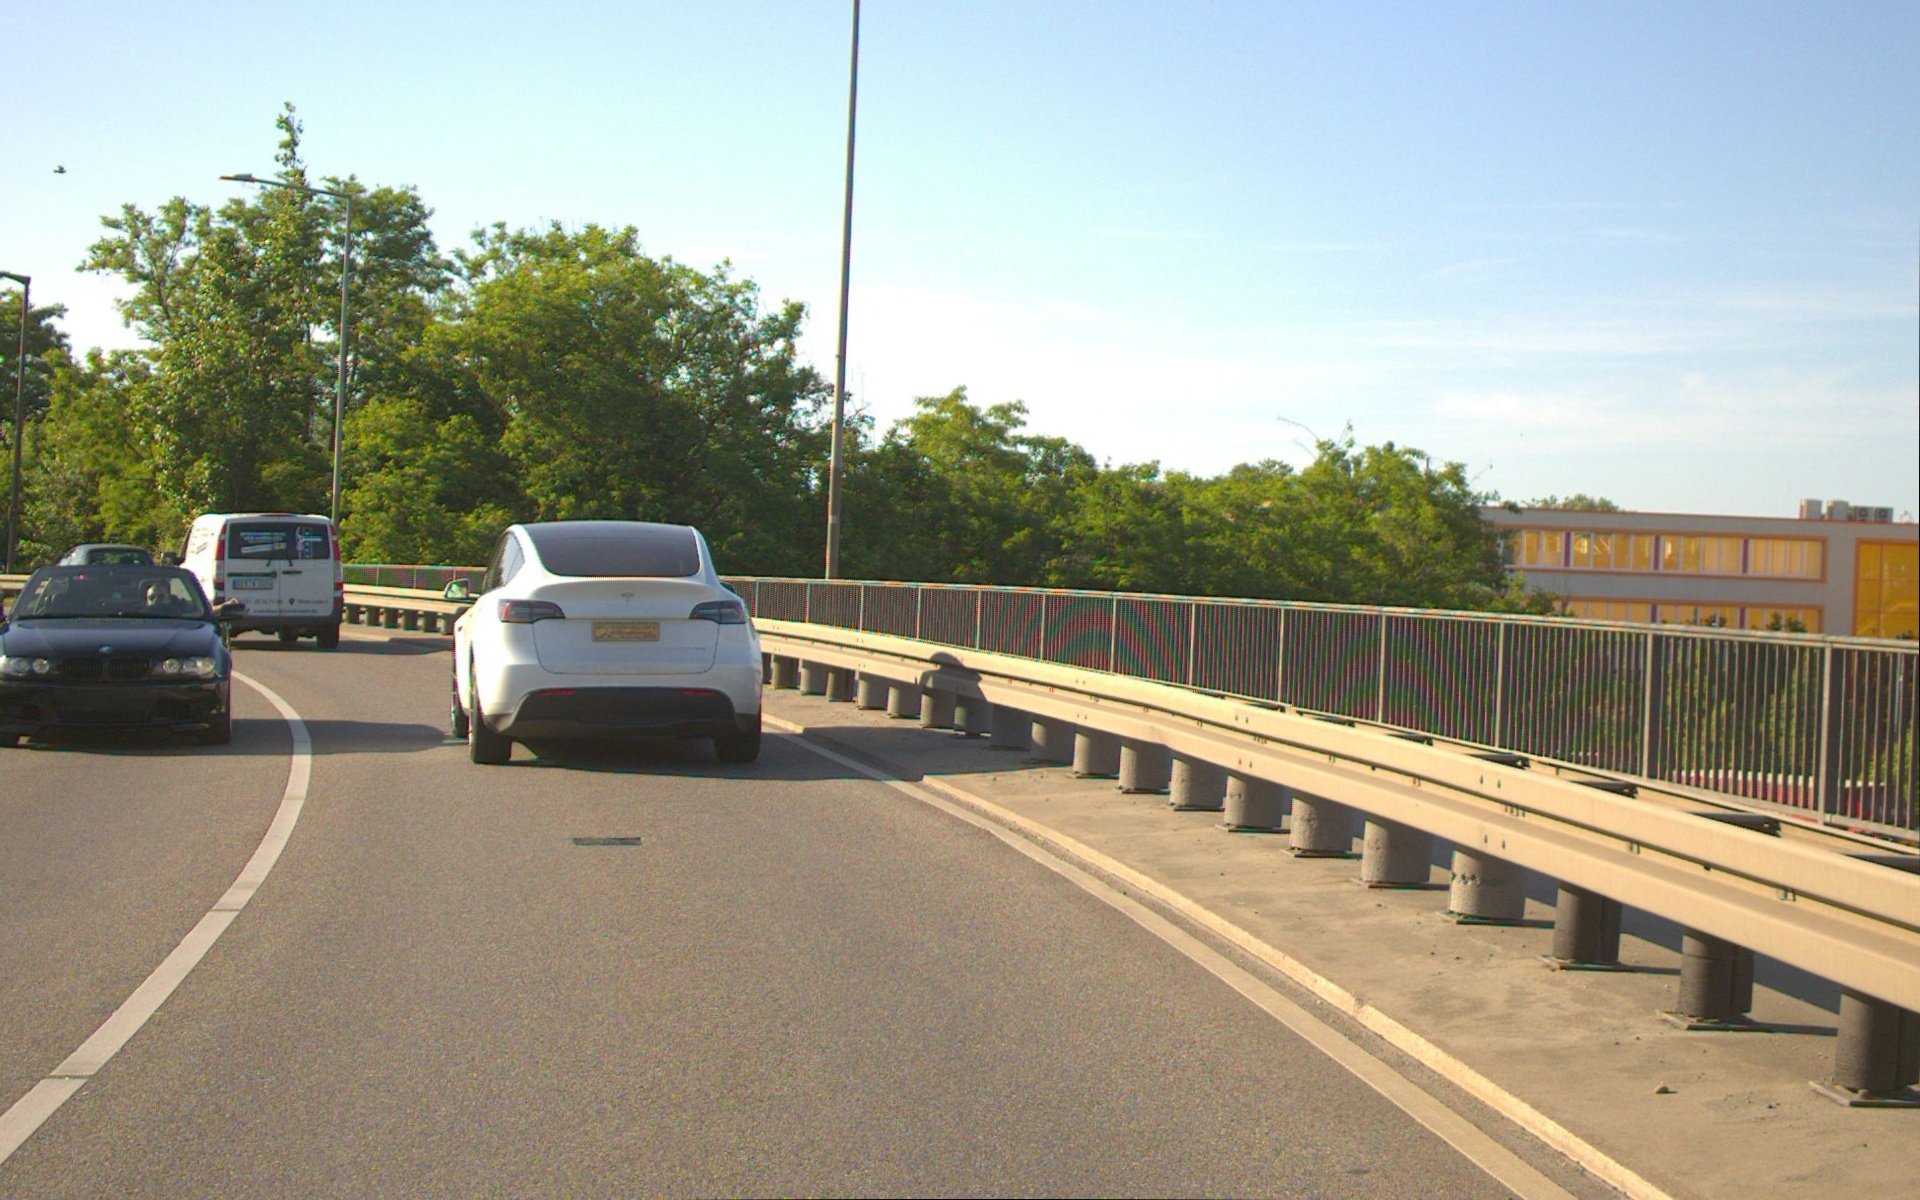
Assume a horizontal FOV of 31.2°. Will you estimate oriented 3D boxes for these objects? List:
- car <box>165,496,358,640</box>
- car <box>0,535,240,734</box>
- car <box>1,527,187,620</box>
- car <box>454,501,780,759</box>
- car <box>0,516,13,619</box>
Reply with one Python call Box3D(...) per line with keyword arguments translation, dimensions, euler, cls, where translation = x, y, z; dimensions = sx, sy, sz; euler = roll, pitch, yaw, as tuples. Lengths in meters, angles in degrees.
Box3D(translation=(-9.927, -0.485, 48.614), dimensions=(2.004, 1.934, 4.469), euler=(0, 1, -20), cls="car")
Box3D(translation=(-6.337, 0.199, 25.872), dimensions=(1.744, 1.350, 4.183), euler=(0, 1, -11), cls="car")
Box3D(translation=(-15.873, -0.485, 62.902), dimensions=(1.969, 1.632, 3.999), euler=(-1, 1, -35), cls="car")
Box3D(translation=(-2.478, 0.168, 23.949), dimensions=(1.985, 1.632, 4.064), euler=(0, 1, -9), cls="car")
Box3D(translation=(-16.704, -0.549, 55.709), dimensions=(1.848, 1.618, 4.103), euler=(0, 1, -27), cls="car")
